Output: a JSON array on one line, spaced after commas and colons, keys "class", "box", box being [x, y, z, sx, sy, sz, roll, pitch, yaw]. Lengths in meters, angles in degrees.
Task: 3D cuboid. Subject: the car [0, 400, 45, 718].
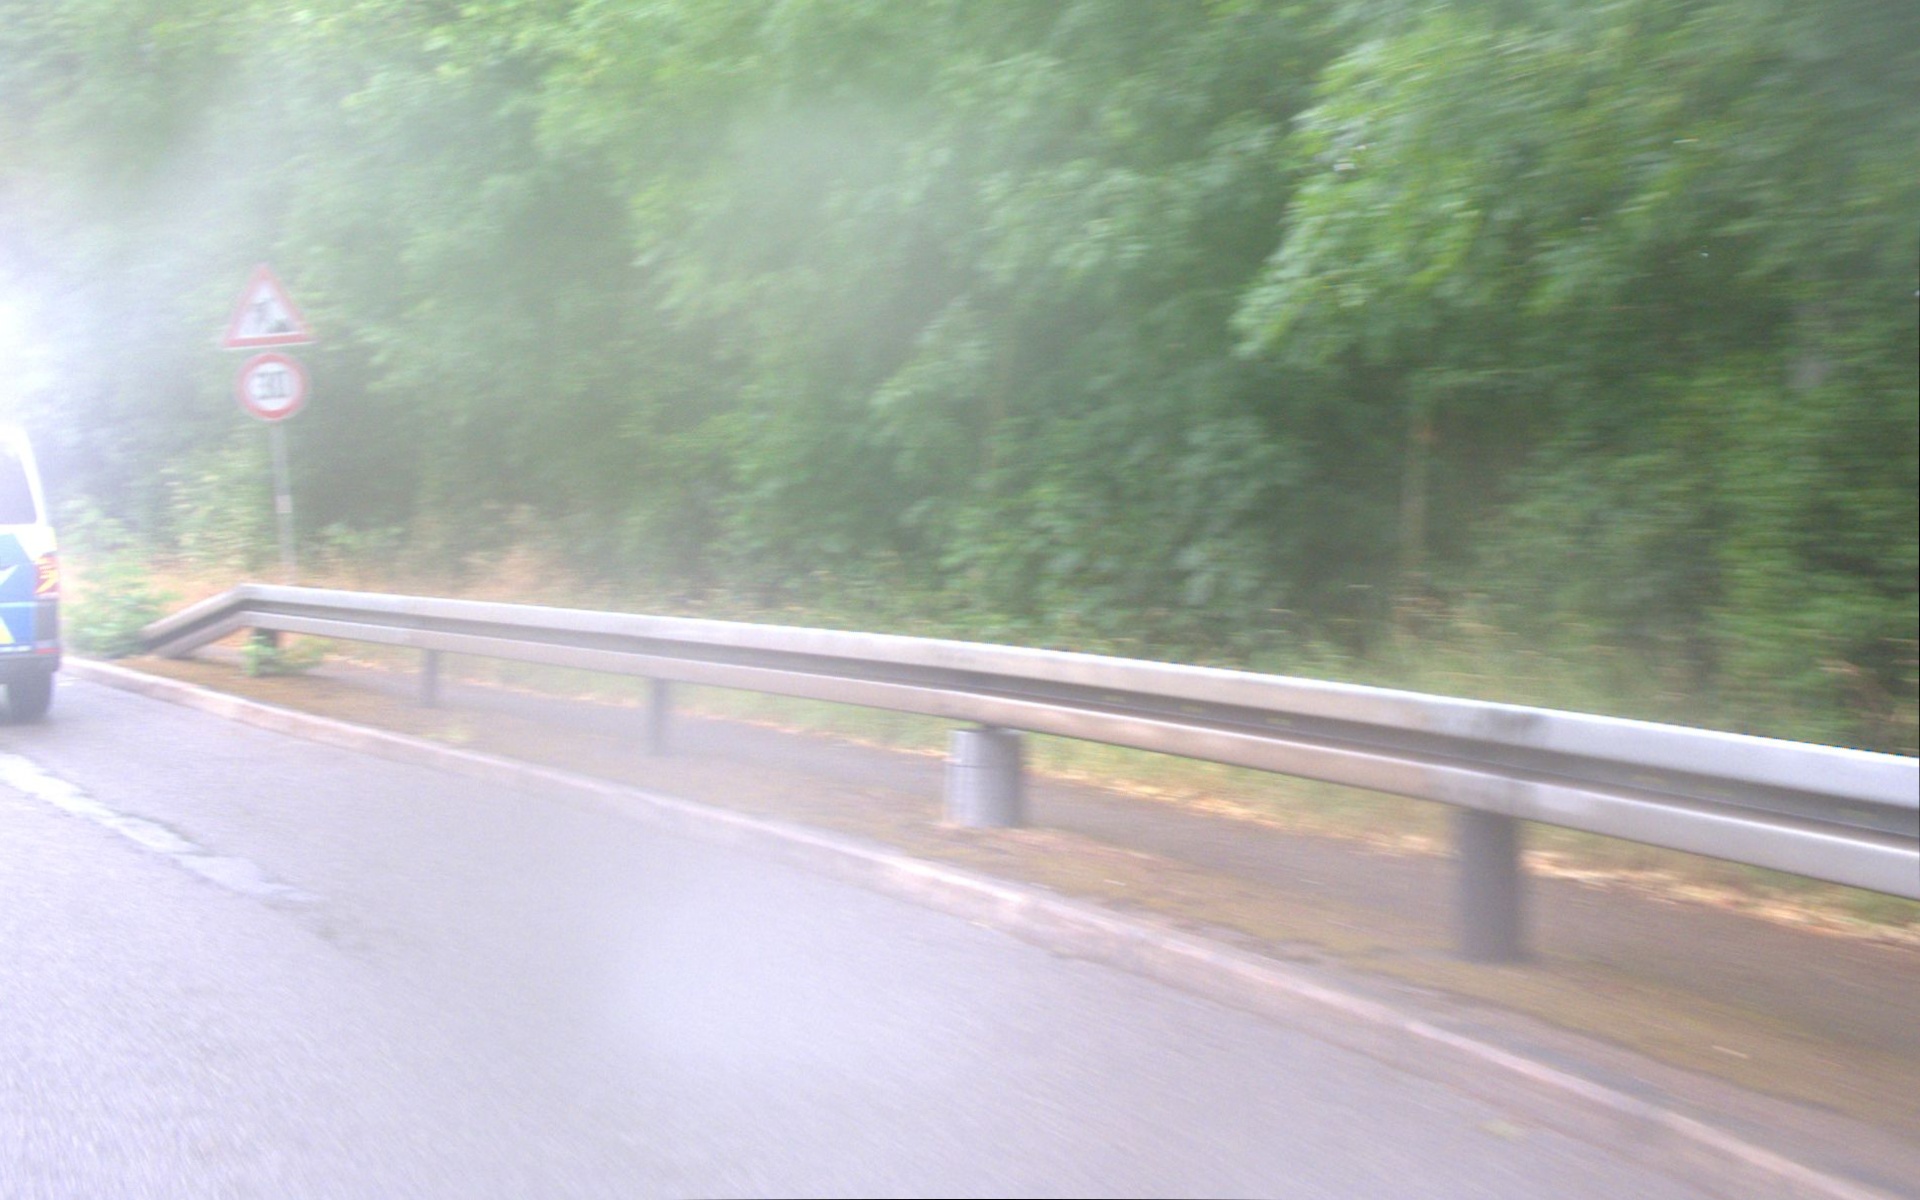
[{"class": "car", "box": [-7.542, -0.281, 23.506, 1.993, 2.007, 4.403, -1, 1, -21]}]
